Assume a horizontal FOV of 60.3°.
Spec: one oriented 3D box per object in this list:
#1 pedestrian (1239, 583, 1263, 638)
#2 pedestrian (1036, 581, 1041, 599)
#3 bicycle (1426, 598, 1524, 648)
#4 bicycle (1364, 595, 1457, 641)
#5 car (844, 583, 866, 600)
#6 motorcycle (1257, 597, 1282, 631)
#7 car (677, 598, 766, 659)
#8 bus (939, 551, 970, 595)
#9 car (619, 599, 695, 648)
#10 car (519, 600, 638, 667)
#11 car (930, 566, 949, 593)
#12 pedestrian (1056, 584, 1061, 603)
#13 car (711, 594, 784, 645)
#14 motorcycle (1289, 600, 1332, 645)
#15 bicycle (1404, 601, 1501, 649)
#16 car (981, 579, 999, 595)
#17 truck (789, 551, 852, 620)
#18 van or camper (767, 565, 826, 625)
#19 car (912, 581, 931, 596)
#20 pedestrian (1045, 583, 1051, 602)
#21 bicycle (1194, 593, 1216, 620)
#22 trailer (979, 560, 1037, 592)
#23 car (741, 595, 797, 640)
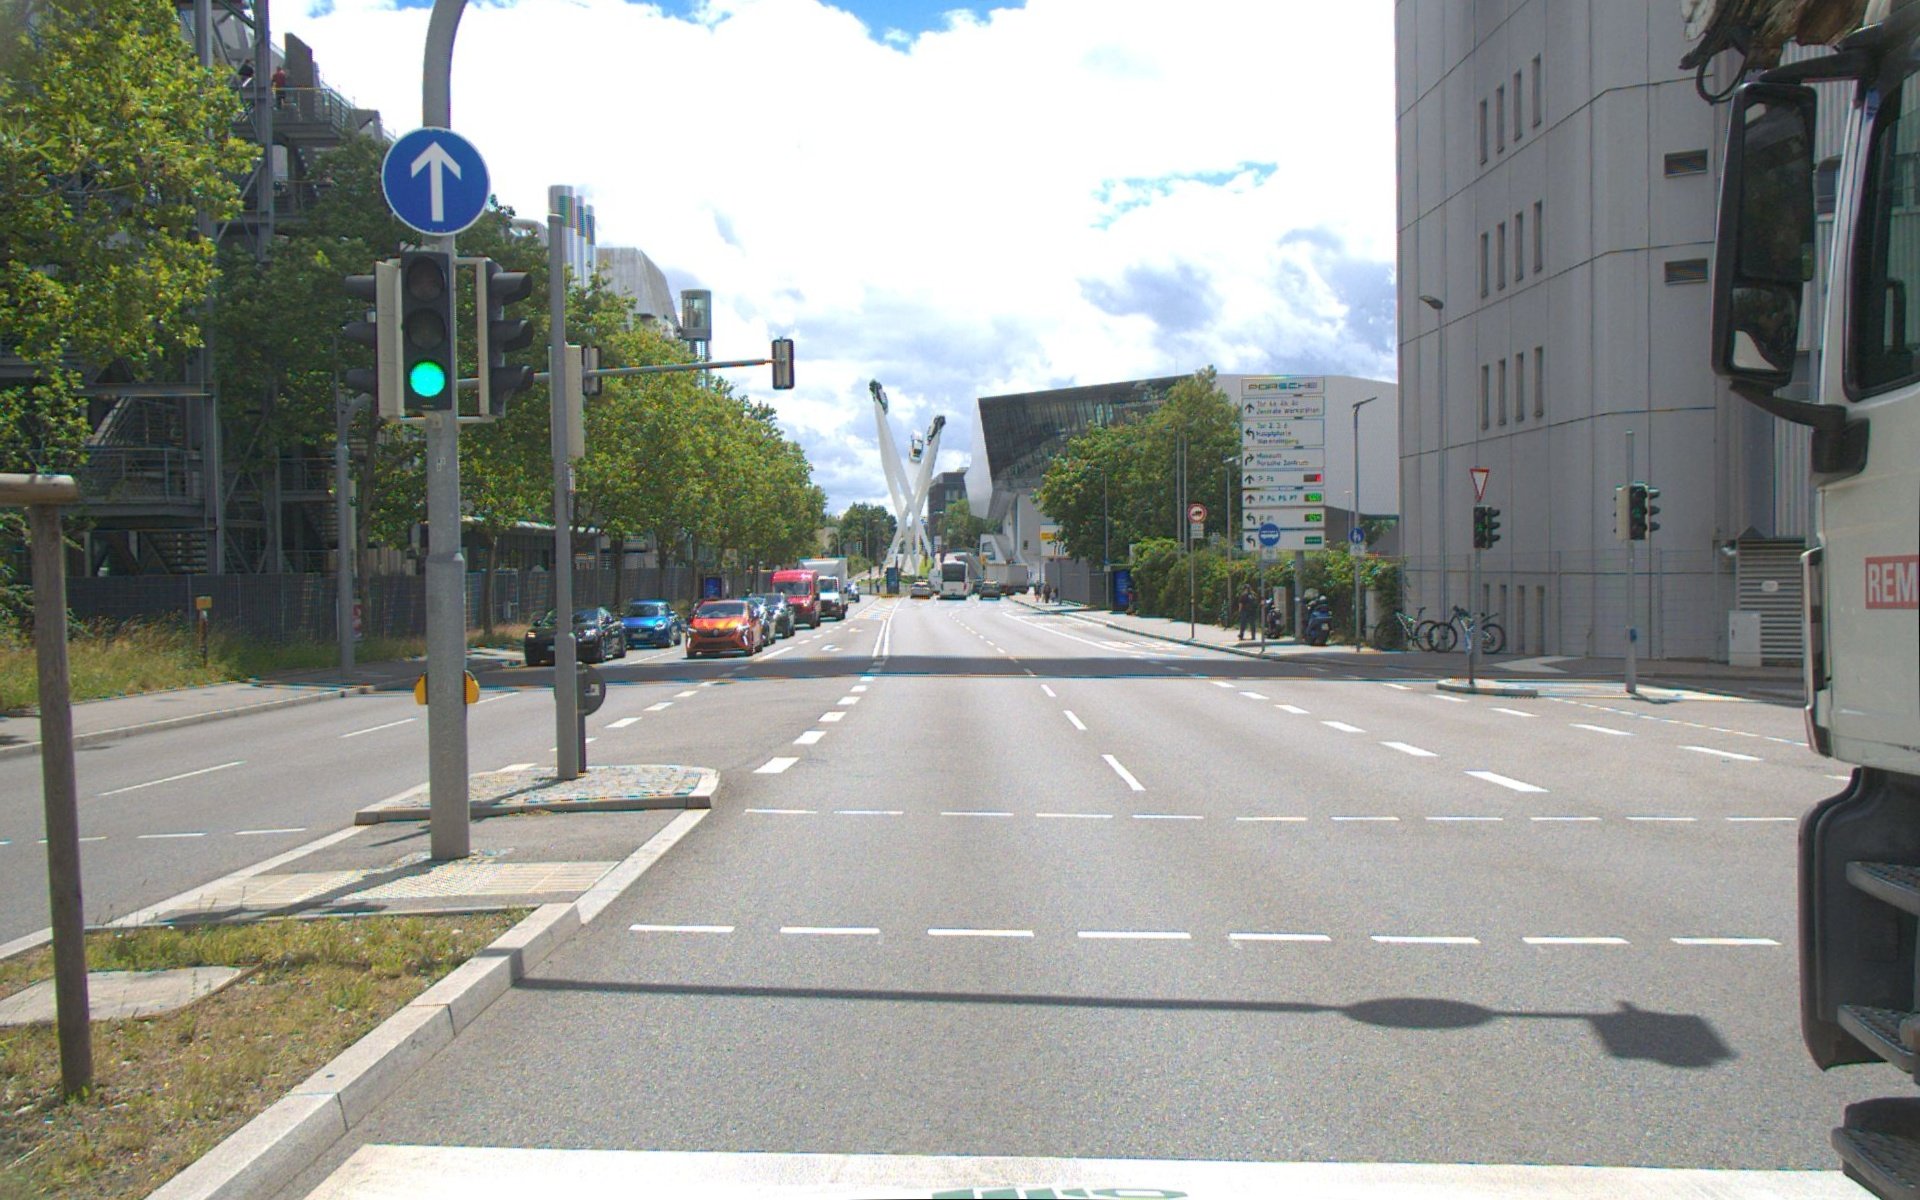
[{"bbox_3d":[8.868,0.329,50.438,0.523,1.669,0.657,1,-1,-6],"label":"pedestrian"},{"bbox_3d":[6.215,-0.784,131.459,0.378,1.446,0.423,1,-1,0],"label":"pedestrian"},{"bbox_3d":[12.044,0.529,38.725,2.149,1.105,0.475,1,-1,35],"label":"bicycle"},{"bbox_3d":[11.158,0.446,40.987,2.180,1.105,0.475,1,-1,35],"label":"bicycle"},{"bbox_3d":[-8.621,-0.684,135.863,1.525,1.295,3.701,-2,0,0],"label":"car"},{"bbox_3d":[9.747,0.442,52.104,0.448,1.040,1.913,1,0,1],"label":"motorcycle"},{"bbox_3d":[-6.217,0.709,43.405,1.733,1.445,3.701,-2,0,0],"label":"car"},{"bbox_3d":[-0.509,-2.414,150.158,2.730,3.750,6.942,1,0,0],"label":"bus"},{"bbox_3d":[-9.633,0.723,52.880,1.692,1.406,3.701,-2,0,0],"label":"car"},{"bbox_3d":[-9.722,0.808,42.507,1.878,1.514,4.772,-2,0,0],"label":"car"},{"bbox_3d":[-2.155,-2.143,173.535,1.806,2.669,4.000,1,0,1],"label":"car"},{"bbox_3d":[7.881,-0.517,131.926,0.378,1.446,0.423,1,-1,0],"label":"pedestrian"},{"bbox_3d":[-6.577,0.587,51.422,1.733,1.445,3.701,-2,0,0],"label":"car"},{"bbox_3d":[9.552,0.606,45.115,0.410,1.186,1.951,1,0,-11],"label":"motorcycle"},{"bbox_3d":[11.776,0.589,39.569,2.180,1.105,0.475,1,-1,35],"label":"bicycle"},{"bbox_3d":[2.687,-1.132,146.634,1.525,1.295,3.701,-2,0,1],"label":"car"},{"bbox_3d":[-7.089,-0.697,84.848,2.538,3.382,7.078,1,0,0],"label":"truck"},{"bbox_3d":[-7.054,-0.219,71.959,2.005,2.509,5.594,0,0,0],"label":"van or camper"},{"bbox_3d":[-3.424,-1.030,148.453,1.525,1.295,3.701,-2,0,1],"label":"car"},{"bbox_3d":[6.792,-0.597,127.439,0.378,1.446,0.423,1,-1,0],"label":"pedestrian"},{"bbox_3d":[9.678,0.242,65.364,0.410,1.040,1.910,1,0,-5],"label":"bicycle"},{"bbox_3d":[5.081,-2.472,172.469,3.250,3.047,10.380,1,0,18],"label":"trailer"},{"bbox_3d":[-6.822,0.595,59.324,1.525,1.473,3.772,-2,0,0],"label":"car"}]
